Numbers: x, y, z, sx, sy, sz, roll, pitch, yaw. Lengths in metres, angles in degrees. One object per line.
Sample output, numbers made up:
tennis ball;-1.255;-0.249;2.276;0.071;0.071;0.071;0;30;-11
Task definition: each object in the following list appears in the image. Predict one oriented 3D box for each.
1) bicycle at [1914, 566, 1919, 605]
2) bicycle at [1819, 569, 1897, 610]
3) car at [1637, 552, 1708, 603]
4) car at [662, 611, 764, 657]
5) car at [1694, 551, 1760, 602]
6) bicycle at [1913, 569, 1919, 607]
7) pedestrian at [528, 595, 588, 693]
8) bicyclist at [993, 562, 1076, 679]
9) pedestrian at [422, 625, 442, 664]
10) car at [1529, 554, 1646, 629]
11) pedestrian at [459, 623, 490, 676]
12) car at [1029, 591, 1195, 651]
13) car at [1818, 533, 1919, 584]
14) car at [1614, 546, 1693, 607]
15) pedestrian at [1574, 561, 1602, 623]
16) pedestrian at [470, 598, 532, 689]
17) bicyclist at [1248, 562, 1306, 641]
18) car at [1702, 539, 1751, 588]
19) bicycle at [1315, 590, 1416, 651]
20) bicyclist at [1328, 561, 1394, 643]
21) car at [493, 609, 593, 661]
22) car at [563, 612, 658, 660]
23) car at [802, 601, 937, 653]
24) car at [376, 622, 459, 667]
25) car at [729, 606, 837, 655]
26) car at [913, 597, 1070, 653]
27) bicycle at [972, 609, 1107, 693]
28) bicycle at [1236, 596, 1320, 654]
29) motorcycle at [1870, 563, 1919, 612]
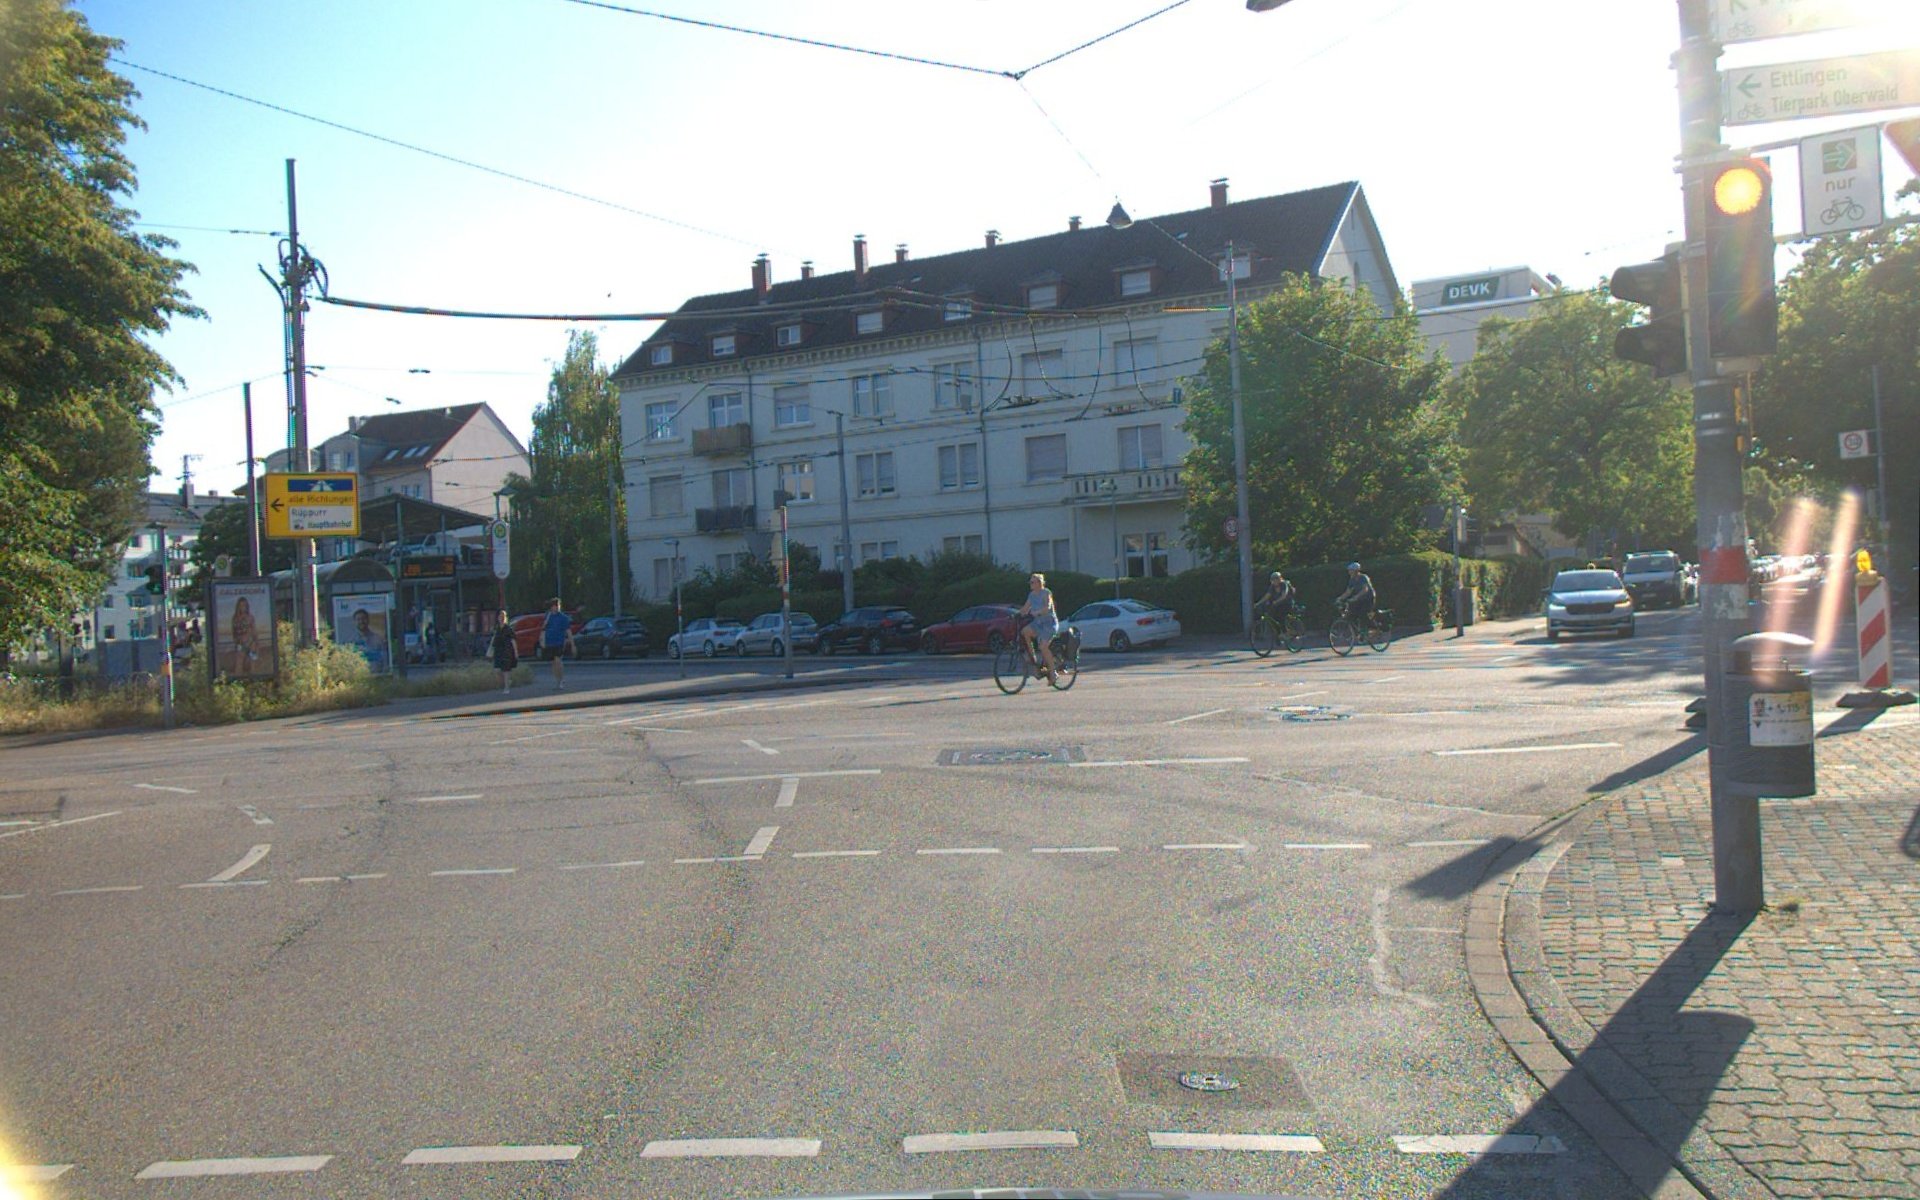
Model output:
bicycle;24.374;-0.398;40.499;1.691;0.949;0.561;-3;0;29
bicycle;22.775;-0.262;41.978;1.691;0.949;0.671;-3;0;29
car;28.352;-0.916;65.757;2.308;1.826;5.305;-3;0;26
car;-9.171;1.274;61.212;1.830;1.472;3.899;-6;2;-41
car;26.996;-0.850;58.165;1.857;1.591;4.388;-4;-1;27
bicycle;24.734;-0.343;41.178;1.691;0.949;0.561;-3;0;29
pedestrian;-8.317;0.892;34.268;0.893;1.958;1.067;-3;0;-1
bicyclist;1.077;0.298;24.043;0.847;1.633;0.768;-3;0;-34
pedestrian;-21.113;1.791;66.104;0.560;1.527;0.672;-3;0;-29
car;13.492;-0.156;35.769;1.850;1.512;4.003;1;0;13
pedestrian;-19.137;1.941;65.200;0.914;2.048;0.759;-2;1;-37
car;4.201;0.592;46.178;1.916;1.400;4.426;-6;2;-43
car;40.820;-1.826;73.115;4.990;1.958;2.360;-3;-2;26
car;25.351;-0.868;60.331;2.308;2.049;5.305;-3;0;26
pedestrian;19.347;-0.258;50.983;0.648;1.871;0.682;-3;0;28
pedestrian;-9.301;0.872;33.557;0.893;1.777;1.067;-3;0;-1
bicyclist;6.533;0.026;34.097;1.030;1.558;0.650;-3;0;-44
car;43.117;-2.030;92.939;2.308;2.558;5.305;-3;0;26
bicycle;8.032;0.404;32.749;1.991;1.087;0.657;-3;0;-30
bicyclist;7.947;0.046;32.803;1.023;1.558;0.691;-3;0;-30
car;-18.159;1.522;71.949;2.039;1.995;5.073;-6;2;-41
car;-14.188;1.479;66.969;1.830;1.696;4.304;-6;2;-41
car;-3.028;0.912;54.570;1.970;1.472;4.634;-6;2;-41
car;-27.186;2.234;82.786;2.039;1.995;5.073;-6;2;-41
car;-6.208;1.086;57.765;1.970;1.472;3.663;-6;2;-41
car;0.916;0.769;50.122;4.625;1.400;1.974;-3;2;44
bicycle;1.165;0.727;23.977;1.999;1.087;0.654;-3;0;-39
bicycle;6.570;0.505;34.097;0.652;1.087;2.005;-3;0;44
motorcycle;22.936;-0.328;39.589;1.912;1.128;0.837;-3;0;24
